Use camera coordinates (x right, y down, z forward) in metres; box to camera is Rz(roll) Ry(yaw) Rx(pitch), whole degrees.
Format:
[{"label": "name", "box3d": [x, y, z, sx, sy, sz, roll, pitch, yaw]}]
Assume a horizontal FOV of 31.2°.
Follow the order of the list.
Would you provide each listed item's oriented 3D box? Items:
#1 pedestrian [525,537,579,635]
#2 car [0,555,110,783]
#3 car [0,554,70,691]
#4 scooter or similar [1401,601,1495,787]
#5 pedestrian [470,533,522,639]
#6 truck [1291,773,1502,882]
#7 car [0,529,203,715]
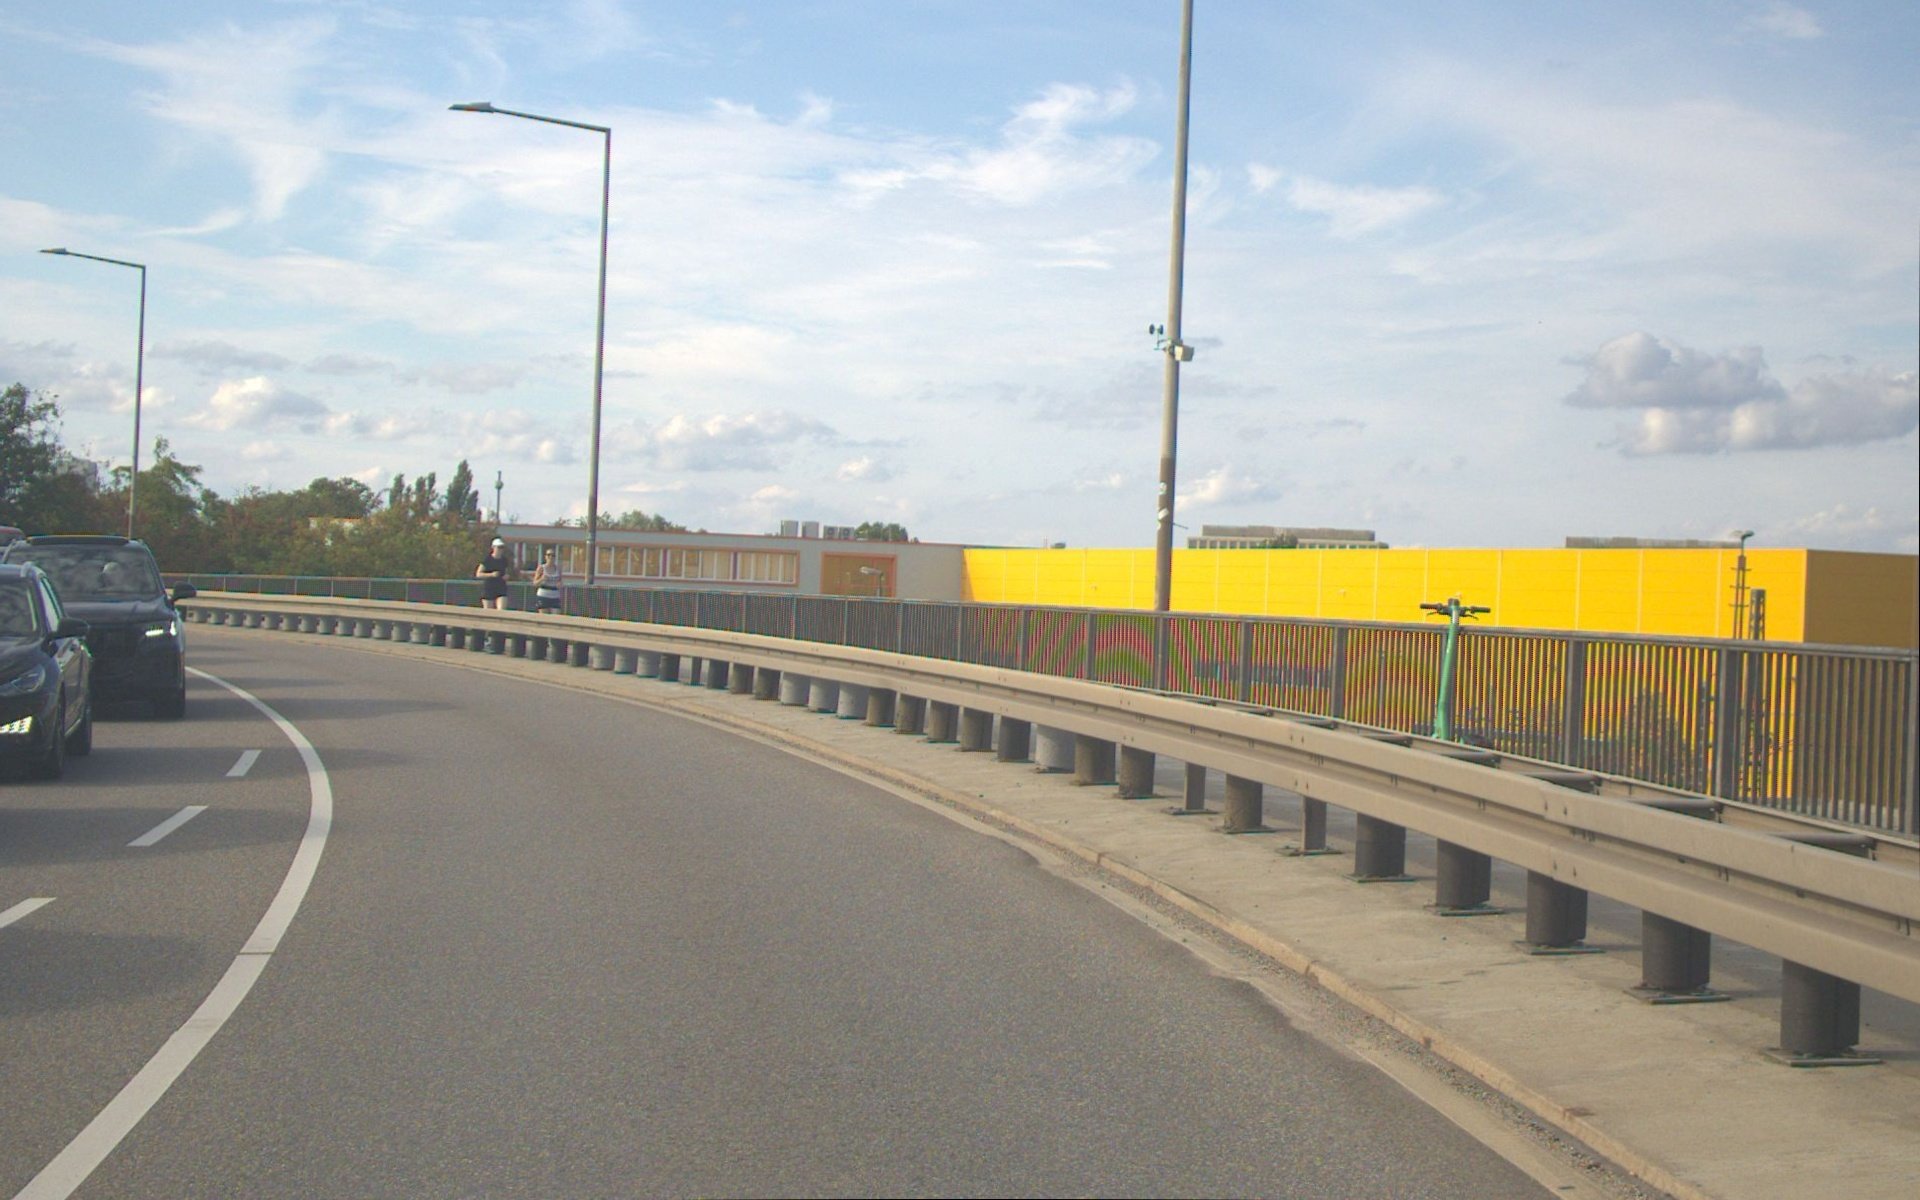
[{"label": "pedestrian", "box3d": [-6.461, -0.222, 54.383, 0.676, 1.538, 0.961, 0, 0, -17]}, {"label": "car", "box3d": [-7.171, 0.427, 24.727, 1.759, 1.484, 4.446, 0, 1, -10]}, {"label": "car", "box3d": [-14.235, 0.287, 50.126, 2.007, 1.897, 4.869, 0, 1, -20]}, {"label": "scooter or similar", "box3d": [3.144, 0.593, 22.208, 0.265, 1.158, 1.189, 0, 0, -9]}, {"label": "pedestrian", "box3d": [-7.300, -0.224, 54.106, 0.676, 1.656, 0.866, 0, 0, -17]}, {"label": "truck", "box3d": [15.999, 8.297, 126.013, 7.207, 3.605, 2.667, 0, 2, -22]}, {"label": "car", "box3d": [-8.289, 0.152, 33.344, 1.829, 1.666, 4.868, 0, 1, -12]}]
